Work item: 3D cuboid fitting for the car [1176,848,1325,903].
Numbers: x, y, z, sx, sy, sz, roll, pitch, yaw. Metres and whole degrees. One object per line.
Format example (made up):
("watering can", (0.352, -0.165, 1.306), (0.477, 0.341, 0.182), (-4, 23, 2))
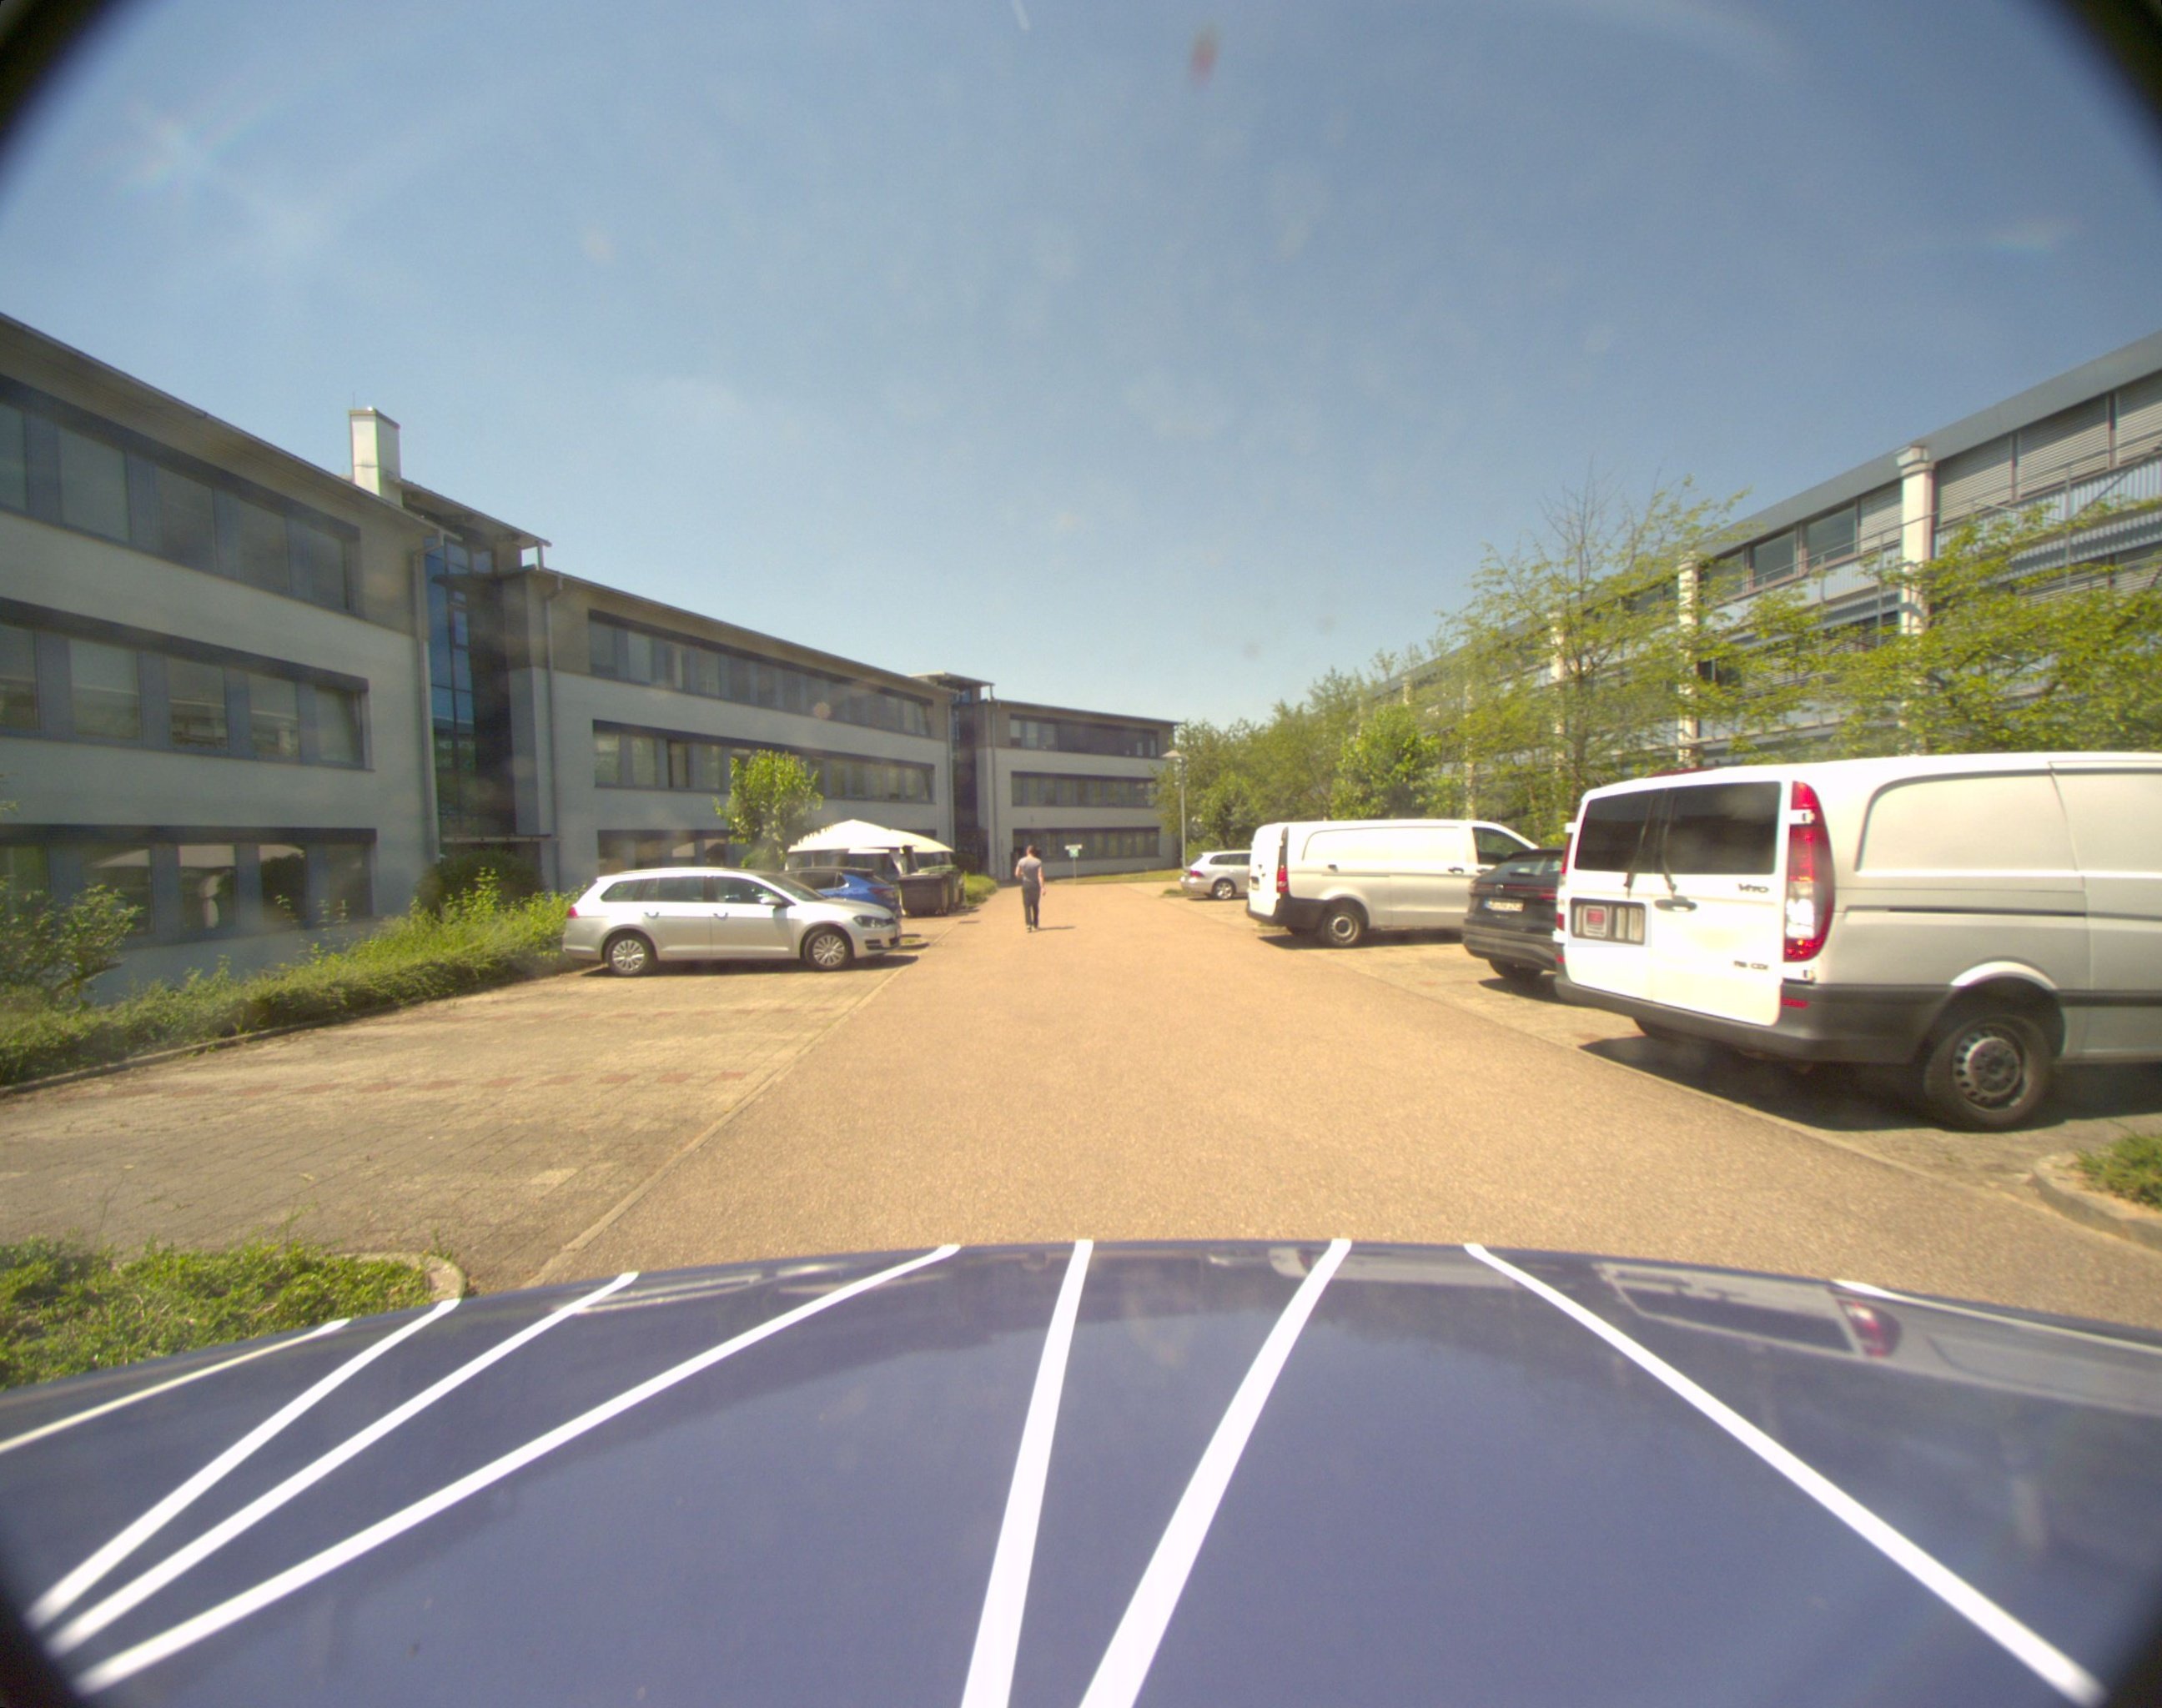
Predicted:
("car", (5.036, 0.621, 22.908), (4.082, 1.475, 1.739), (-1, 0, -1))

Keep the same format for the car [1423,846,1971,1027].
("car", (5.905, 0.712, 7.599), (4.196, 1.475, 1.739), (-1, 0, -4))

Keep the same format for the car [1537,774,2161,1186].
("car", (5.596, 0.532, 4.545), (4.675, 1.849, 1.868), (-1, 1, -4))

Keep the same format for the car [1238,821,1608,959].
("car", (5.134, 0.515, 11.858), (4.932, 1.845, 1.856), (-2, 1, -2))

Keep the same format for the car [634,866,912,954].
("car", (-5.782, 1.017, 14.740), (4.611, 1.485, 1.856), (-1, 0, -4))

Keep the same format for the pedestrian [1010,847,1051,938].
("pedestrian", (-1.006, 0.754, 15.282), (0.698, 1.747, 0.776), (-2, 1, 0))

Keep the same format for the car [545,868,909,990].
("car", (-4.916, 1.019, 11.121), (4.425, 1.511, 1.856), (-1, 0, -4))
